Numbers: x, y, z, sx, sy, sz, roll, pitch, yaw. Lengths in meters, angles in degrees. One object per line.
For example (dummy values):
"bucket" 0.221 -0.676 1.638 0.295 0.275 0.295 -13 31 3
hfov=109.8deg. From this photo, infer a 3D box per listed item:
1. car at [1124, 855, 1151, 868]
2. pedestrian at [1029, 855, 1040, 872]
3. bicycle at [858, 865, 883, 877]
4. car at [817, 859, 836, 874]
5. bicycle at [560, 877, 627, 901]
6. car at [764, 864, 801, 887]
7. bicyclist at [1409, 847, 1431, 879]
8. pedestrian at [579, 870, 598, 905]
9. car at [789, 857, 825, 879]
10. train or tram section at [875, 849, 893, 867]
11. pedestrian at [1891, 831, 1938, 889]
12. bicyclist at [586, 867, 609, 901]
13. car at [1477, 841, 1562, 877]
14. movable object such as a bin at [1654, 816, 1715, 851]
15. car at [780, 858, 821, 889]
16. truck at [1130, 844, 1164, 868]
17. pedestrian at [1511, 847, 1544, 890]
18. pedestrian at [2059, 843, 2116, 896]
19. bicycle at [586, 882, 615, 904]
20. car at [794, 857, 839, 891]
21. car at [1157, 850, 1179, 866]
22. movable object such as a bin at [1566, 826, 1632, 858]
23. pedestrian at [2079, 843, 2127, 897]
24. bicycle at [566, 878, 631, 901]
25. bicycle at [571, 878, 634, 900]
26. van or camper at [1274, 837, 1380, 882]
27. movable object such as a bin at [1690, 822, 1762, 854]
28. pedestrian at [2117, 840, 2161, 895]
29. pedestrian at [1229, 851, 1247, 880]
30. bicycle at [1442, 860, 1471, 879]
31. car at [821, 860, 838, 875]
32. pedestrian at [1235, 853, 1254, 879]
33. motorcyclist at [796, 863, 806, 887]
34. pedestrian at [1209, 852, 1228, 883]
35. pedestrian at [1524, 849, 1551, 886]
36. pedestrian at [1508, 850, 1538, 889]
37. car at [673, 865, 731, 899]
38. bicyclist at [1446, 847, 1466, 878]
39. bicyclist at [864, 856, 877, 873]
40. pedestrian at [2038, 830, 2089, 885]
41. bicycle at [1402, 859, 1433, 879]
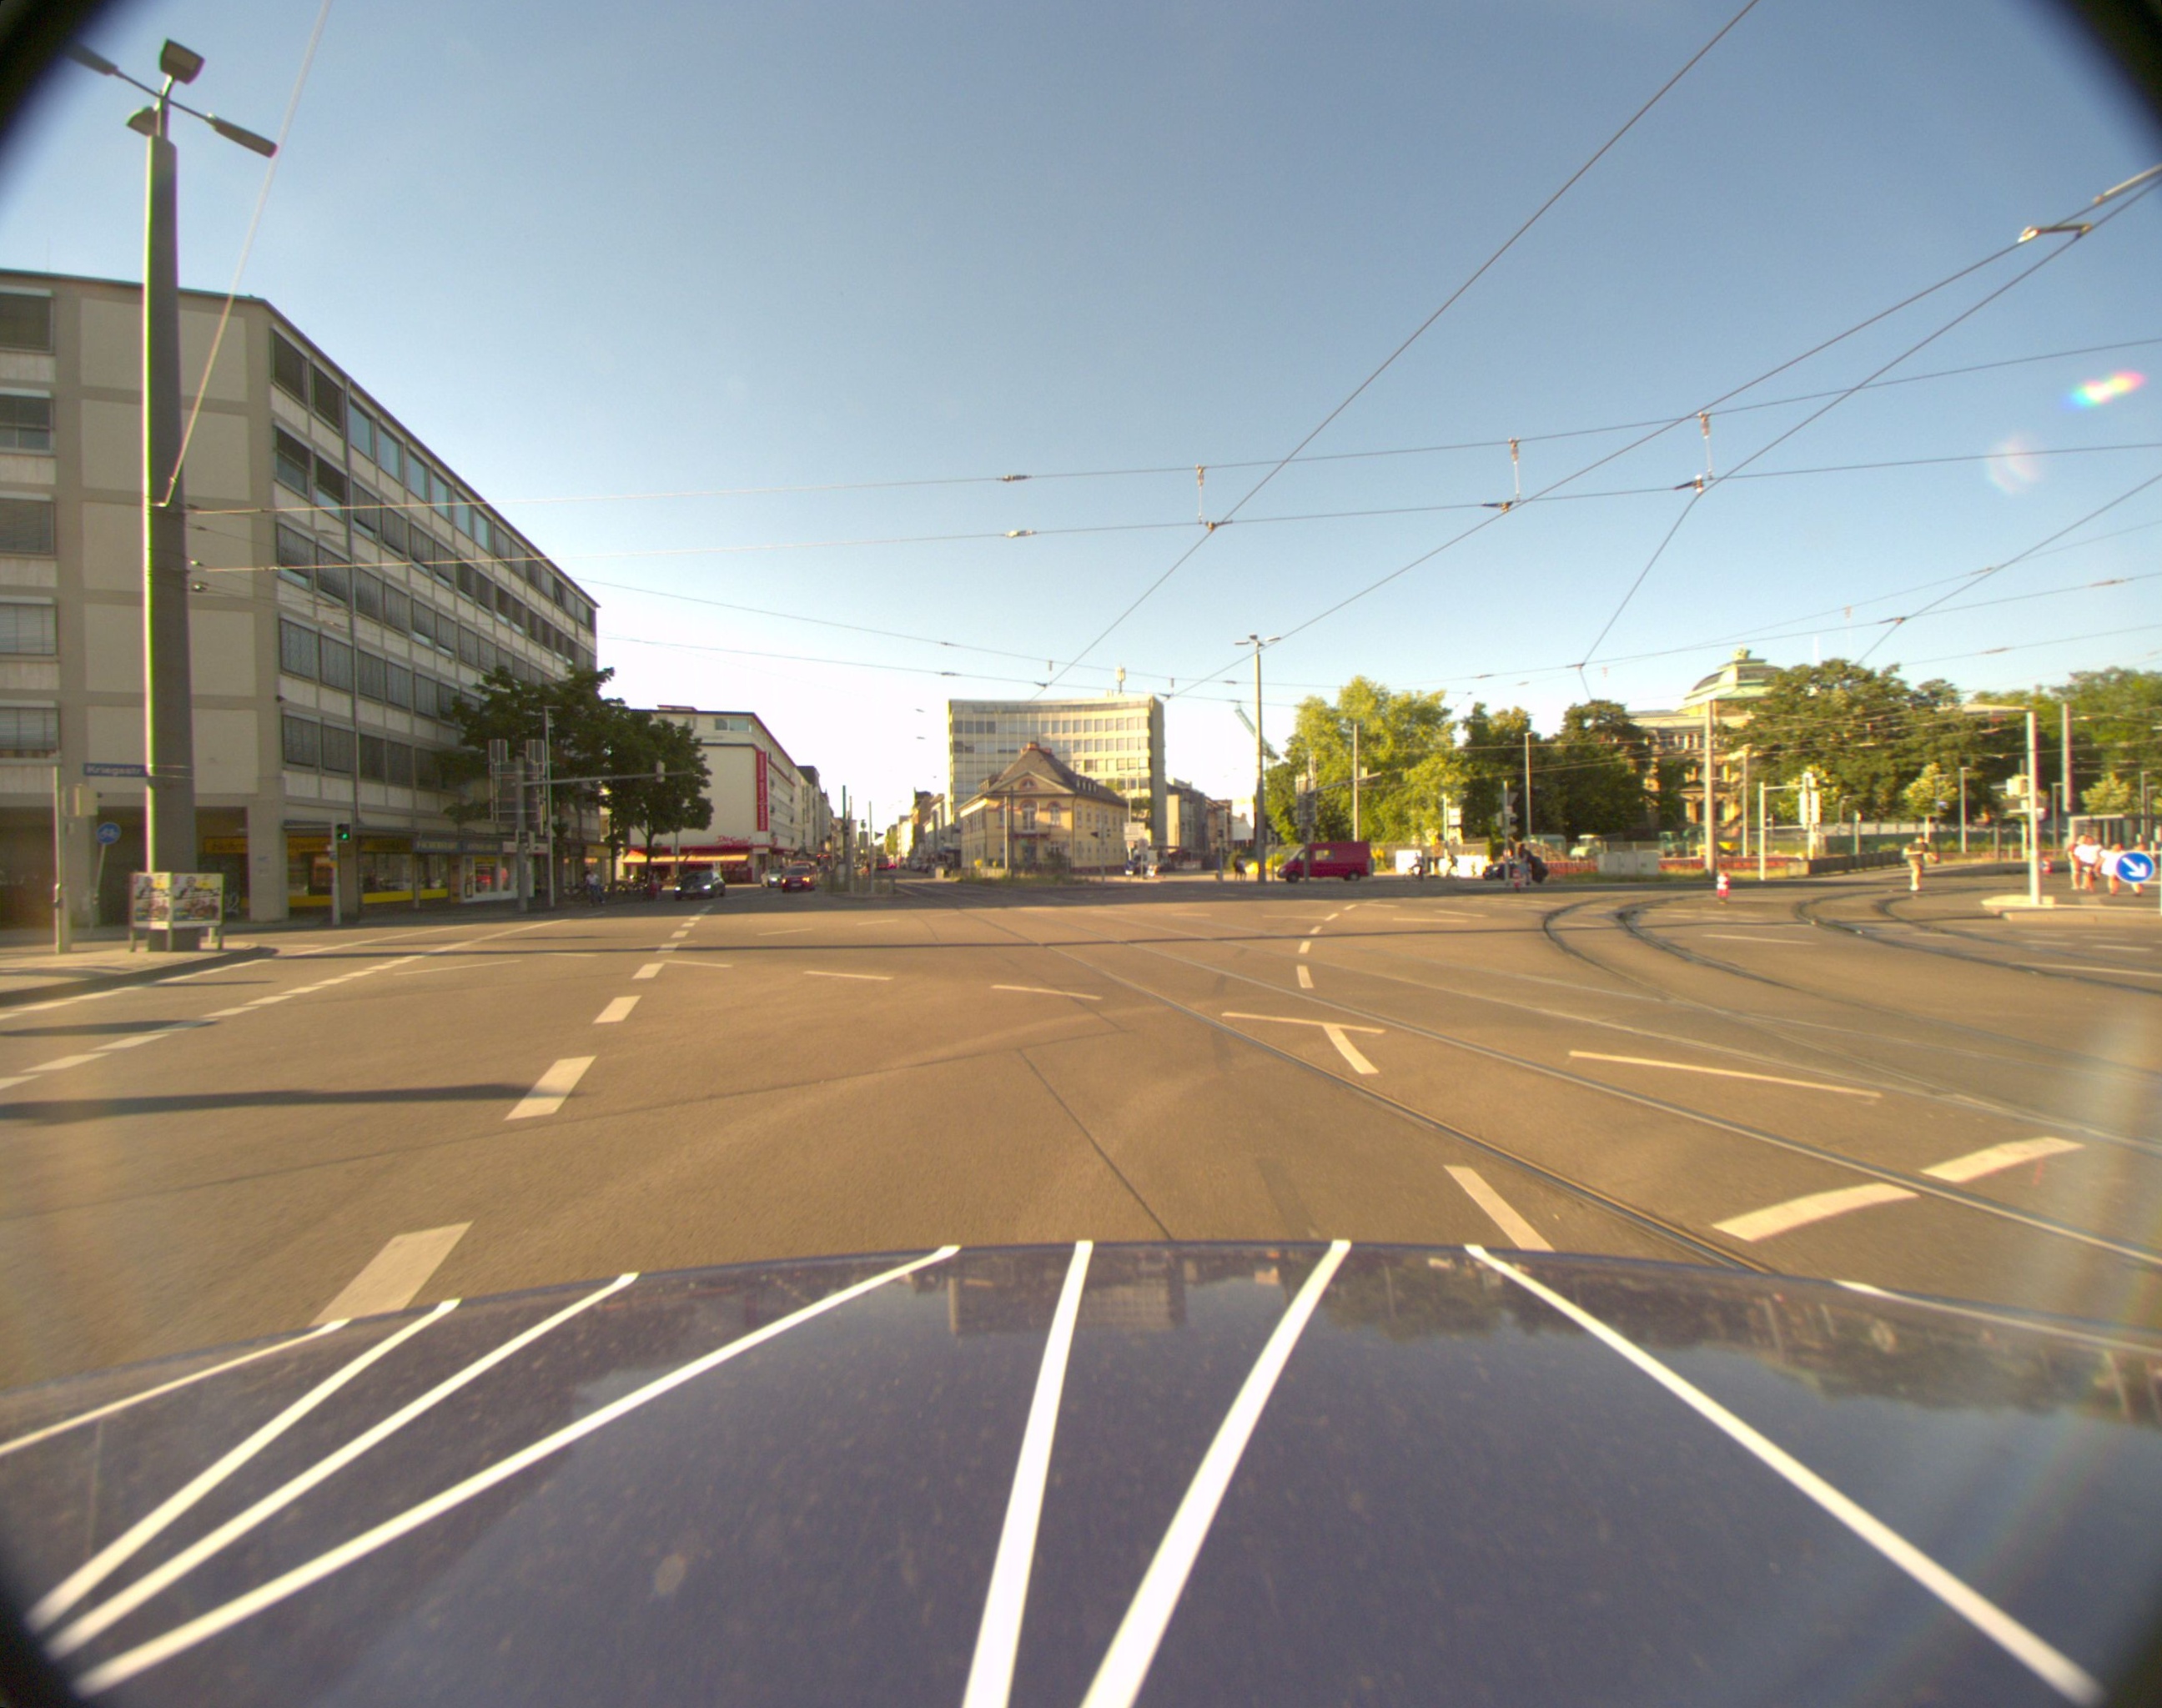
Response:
"car" 5.993 0.796 80.365 1.710 1.356 4.202 -2 -1 21
"pedestrian" -4.613 0.952 75.889 0.684 1.632 0.819 -2 -1 27
"bicycle" -18.068 1.455 65.177 1.993 0.942 0.723 -2 -1 -24
"car" -35.048 1.771 104.583 2.001 2.001 4.868 -2 -1 -14
"bicycle" -23.578 1.705 36.804 2.645 1.136 0.750 1 -2 -26
"car" -22.214 1.623 56.487 1.847 1.608 3.991 -1 -1 -32
"bicyclist" 19.349 0.522 43.393 1.062 1.757 0.542 -2 -1 -25
"pedestrian" -29.126 1.981 44.900 0.715 2.001 0.627 -2 -1 -11
"car" -24.215 1.260 67.379 1.903 1.831 4.625 -2 -1 -6
"train or tram section" -44.841 0.815 172.668 3.718 3.811 13.341 -2 0 -16
"pedestrian" 27.154 0.200 24.773 0.620 1.852 0.787 -2 -1 -17
"bicyclist" -21.236 1.316 33.372 0.672 1.415 0.680 -2 -1 -21
"car" 26.997 0.314 46.877 3.996 2.001 2.001 -2 -1 4
"movable object such as a bin" 61.043 -2.046 76.892 5.378 3.309 1.998 -2 -1 -16
"car" -16.214 1.139 44.119 1.845 1.608 3.996 -2 -1 -15
"truck" 7.496 0.194 85.880 2.296 2.533 5.648 -2 -1 21
"pedestrian" 19.285 0.635 32.818 0.898 1.790 0.789 -7 -3 44
"pedestrian" 29.661 0.455 22.409 0.786 1.539 0.620 -1 0 21
"bicycle" -21.366 1.718 33.817 0.672 0.934 2.028 -2 -1 -21
"car" -13.364 1.026 38.634 1.845 1.608 3.996 -2 -1 -15
"car" 10.955 0.535 95.401 1.710 1.968 3.768 -2 -1 21
"movable object such as a bin" 45.875 -1.044 67.291 5.016 2.667 1.998 -2 -1 -16
"pedestrian" 27.773 0.442 20.655 0.636 1.447 0.526 -3 -1 40
"bicycle" -24.030 1.754 37.914 2.645 1.136 0.750 1 -2 -26
"bicycle" -24.436 1.789 38.870 2.645 1.136 0.750 1 -2 -26
"van or camper" 15.228 0.359 47.240 5.907 2.513 2.001 -2 -1 6
"movable object such as a bin" 62.184 -1.534 73.285 5.867 2.799 1.999 -2 -1 -10
"pedestrian" 28.287 0.363 20.258 0.636 1.423 0.526 -3 -1 39
"pedestrian" 9.239 0.688 44.730 0.696 1.672 1.044 -2 -1 32
"bicycle" 21.699 0.890 43.922 1.696 0.995 0.542 -2 -1 -25
"car" -36.264 1.924 109.636 2.001 2.001 4.868 -2 -1 -14
"pedestrian" 11.103 0.831 51.577 0.761 1.751 1.006 -2 -1 -19
"motorcyclist" -17.568 1.312 47.720 0.535 1.499 0.461 -2 -1 -16
"pedestrian" 8.152 0.810 45.087 0.696 1.782 1.044 -2 -1 32
"pedestrian" 20.761 0.630 34.559 0.620 1.630 0.787 -2 -1 -22
"pedestrian" 18.897 0.665 32.465 0.898 1.630 0.789 -3 -1 42
"car" -19.336 1.413 38.930 1.845 1.608 4.076 -2 -1 -15
"bicyclist" 21.682 0.511 43.887 0.793 1.735 0.615 -2 -1 -25
"bicyclist" -18.080 0.888 65.195 0.899 1.448 0.723 -2 -1 -24
"pedestrian" 31.316 0.124 24.218 0.620 1.688 0.787 -2 -1 -17
"bicycle" 19.184 0.869 43.291 1.811 1.094 0.542 -2 -1 -25
